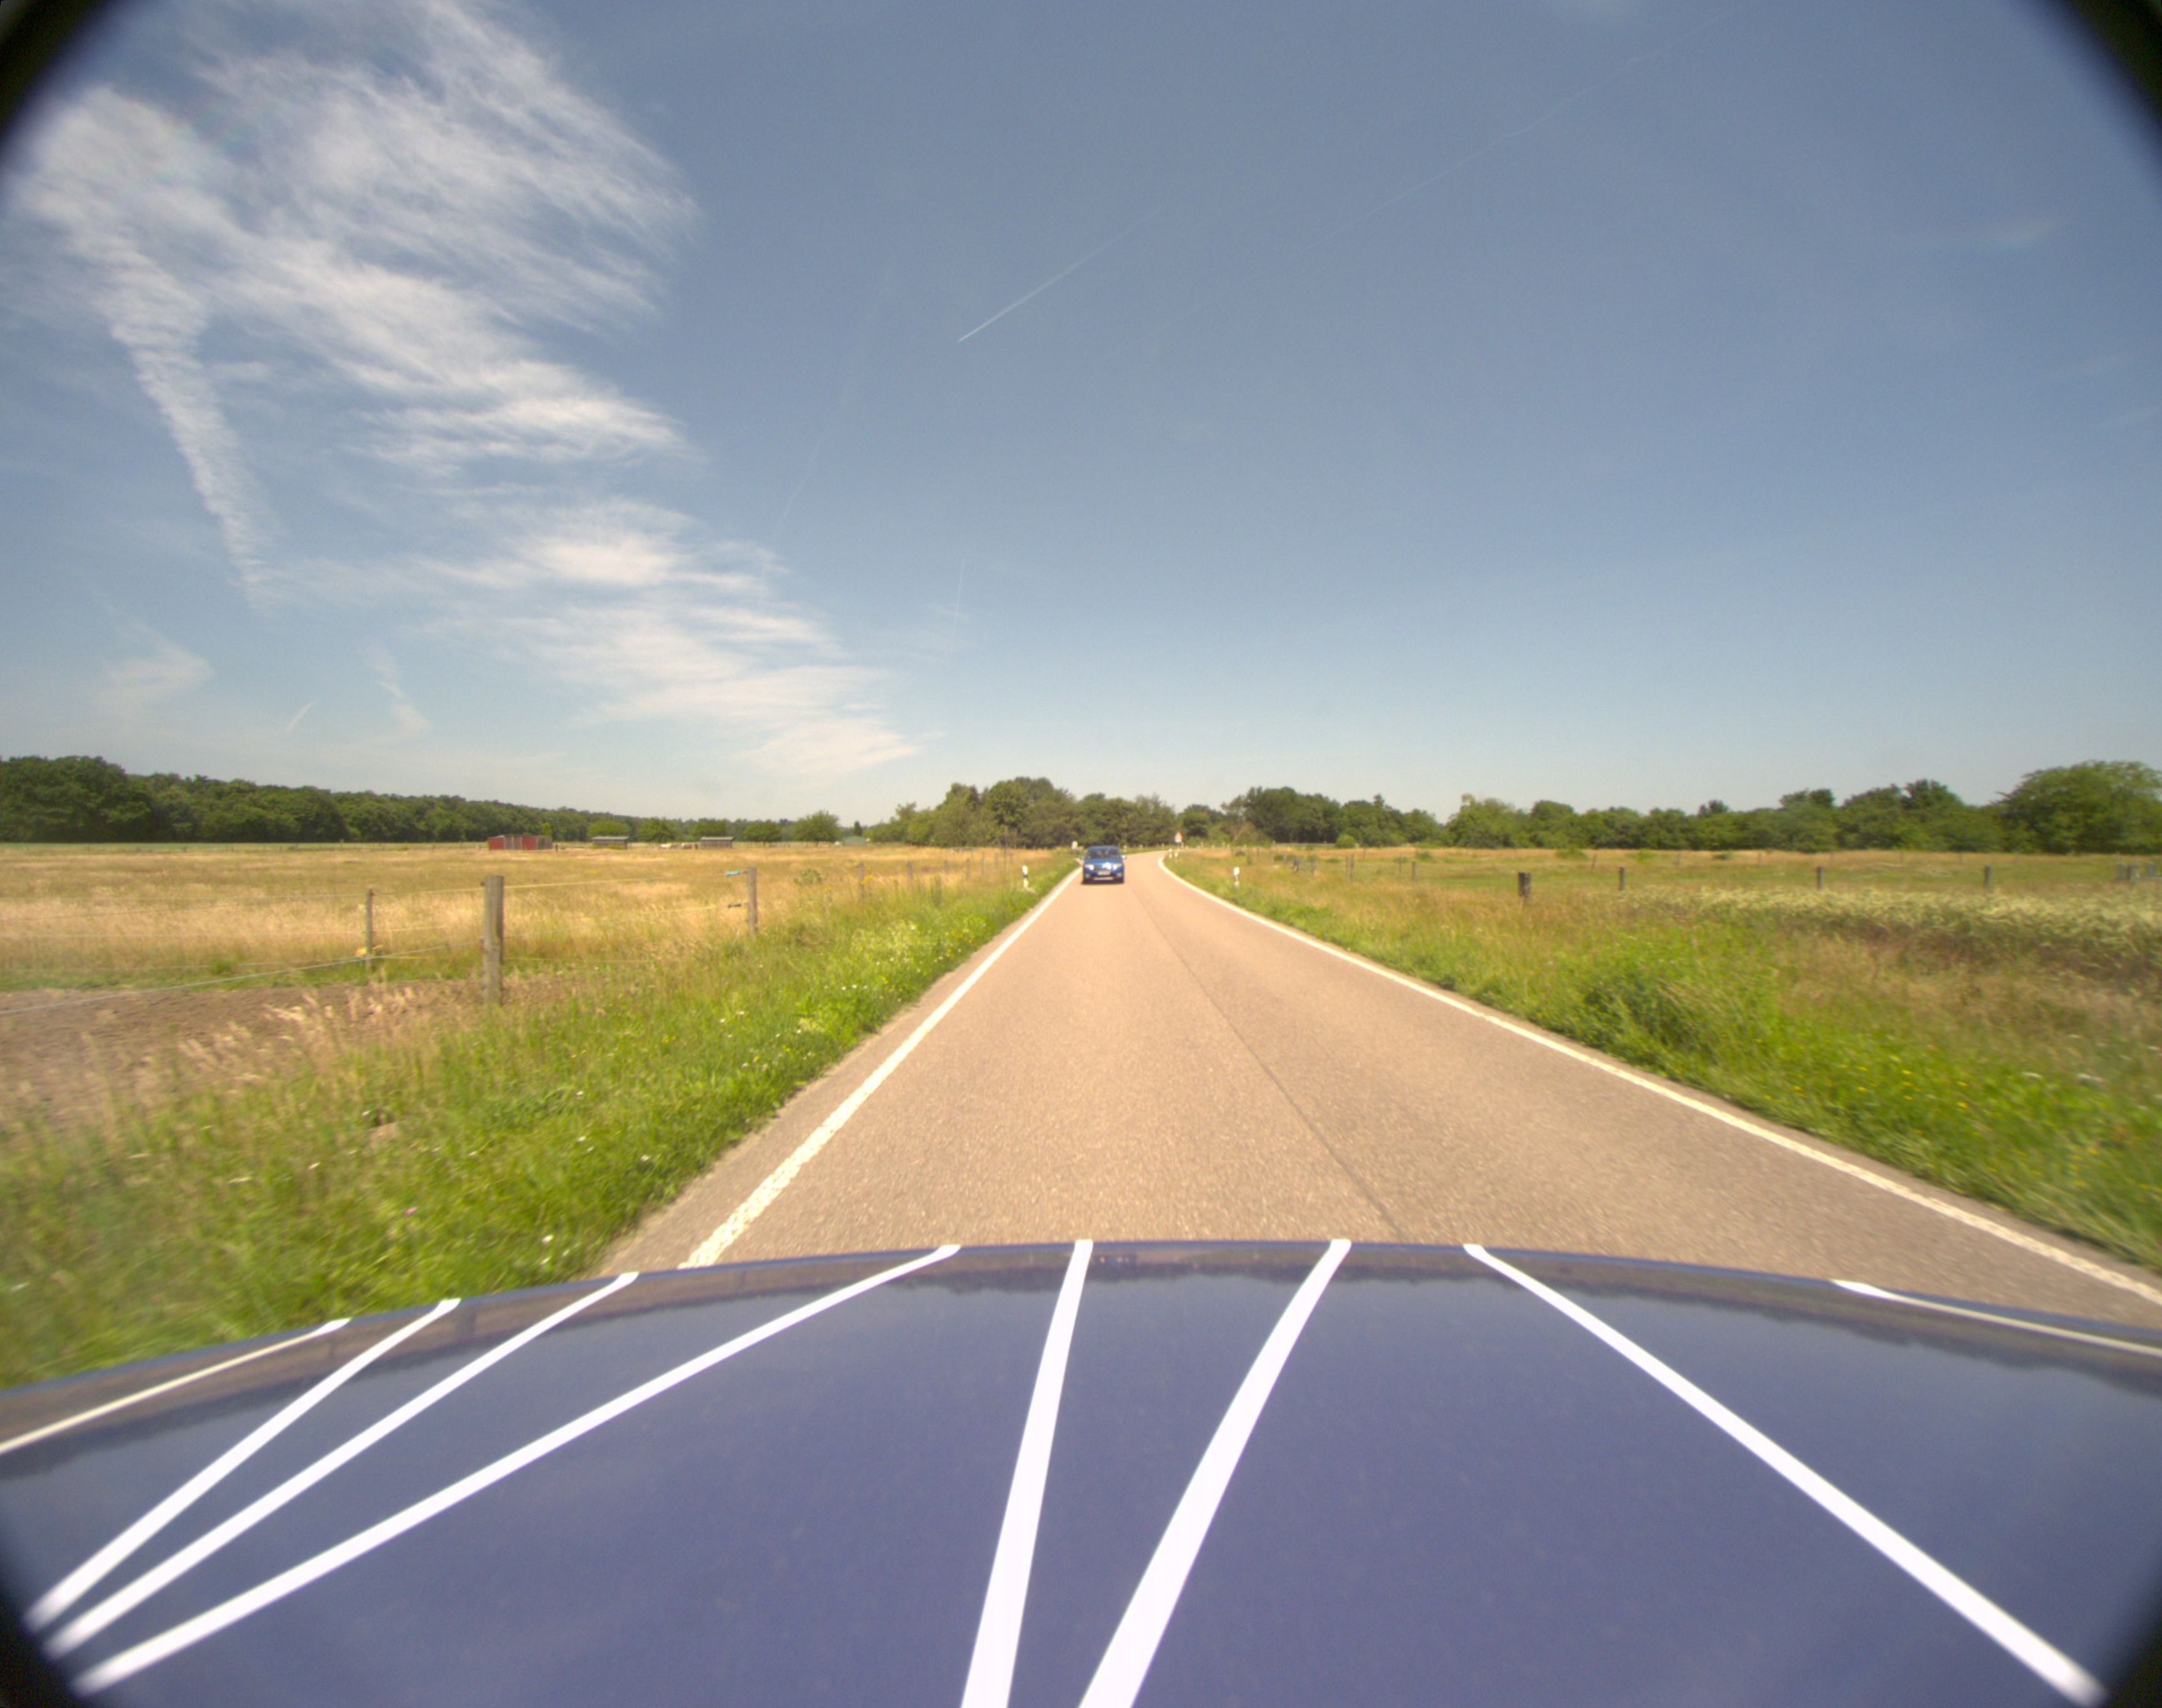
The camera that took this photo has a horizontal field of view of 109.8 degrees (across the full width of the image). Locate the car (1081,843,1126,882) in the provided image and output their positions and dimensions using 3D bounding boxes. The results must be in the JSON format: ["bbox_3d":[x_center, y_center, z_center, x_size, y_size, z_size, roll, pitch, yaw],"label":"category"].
[{"bbox_3d":[1.036,0.329,32.960,1.733,1.572,4.000,-1,1,4],"label":"car"}]
